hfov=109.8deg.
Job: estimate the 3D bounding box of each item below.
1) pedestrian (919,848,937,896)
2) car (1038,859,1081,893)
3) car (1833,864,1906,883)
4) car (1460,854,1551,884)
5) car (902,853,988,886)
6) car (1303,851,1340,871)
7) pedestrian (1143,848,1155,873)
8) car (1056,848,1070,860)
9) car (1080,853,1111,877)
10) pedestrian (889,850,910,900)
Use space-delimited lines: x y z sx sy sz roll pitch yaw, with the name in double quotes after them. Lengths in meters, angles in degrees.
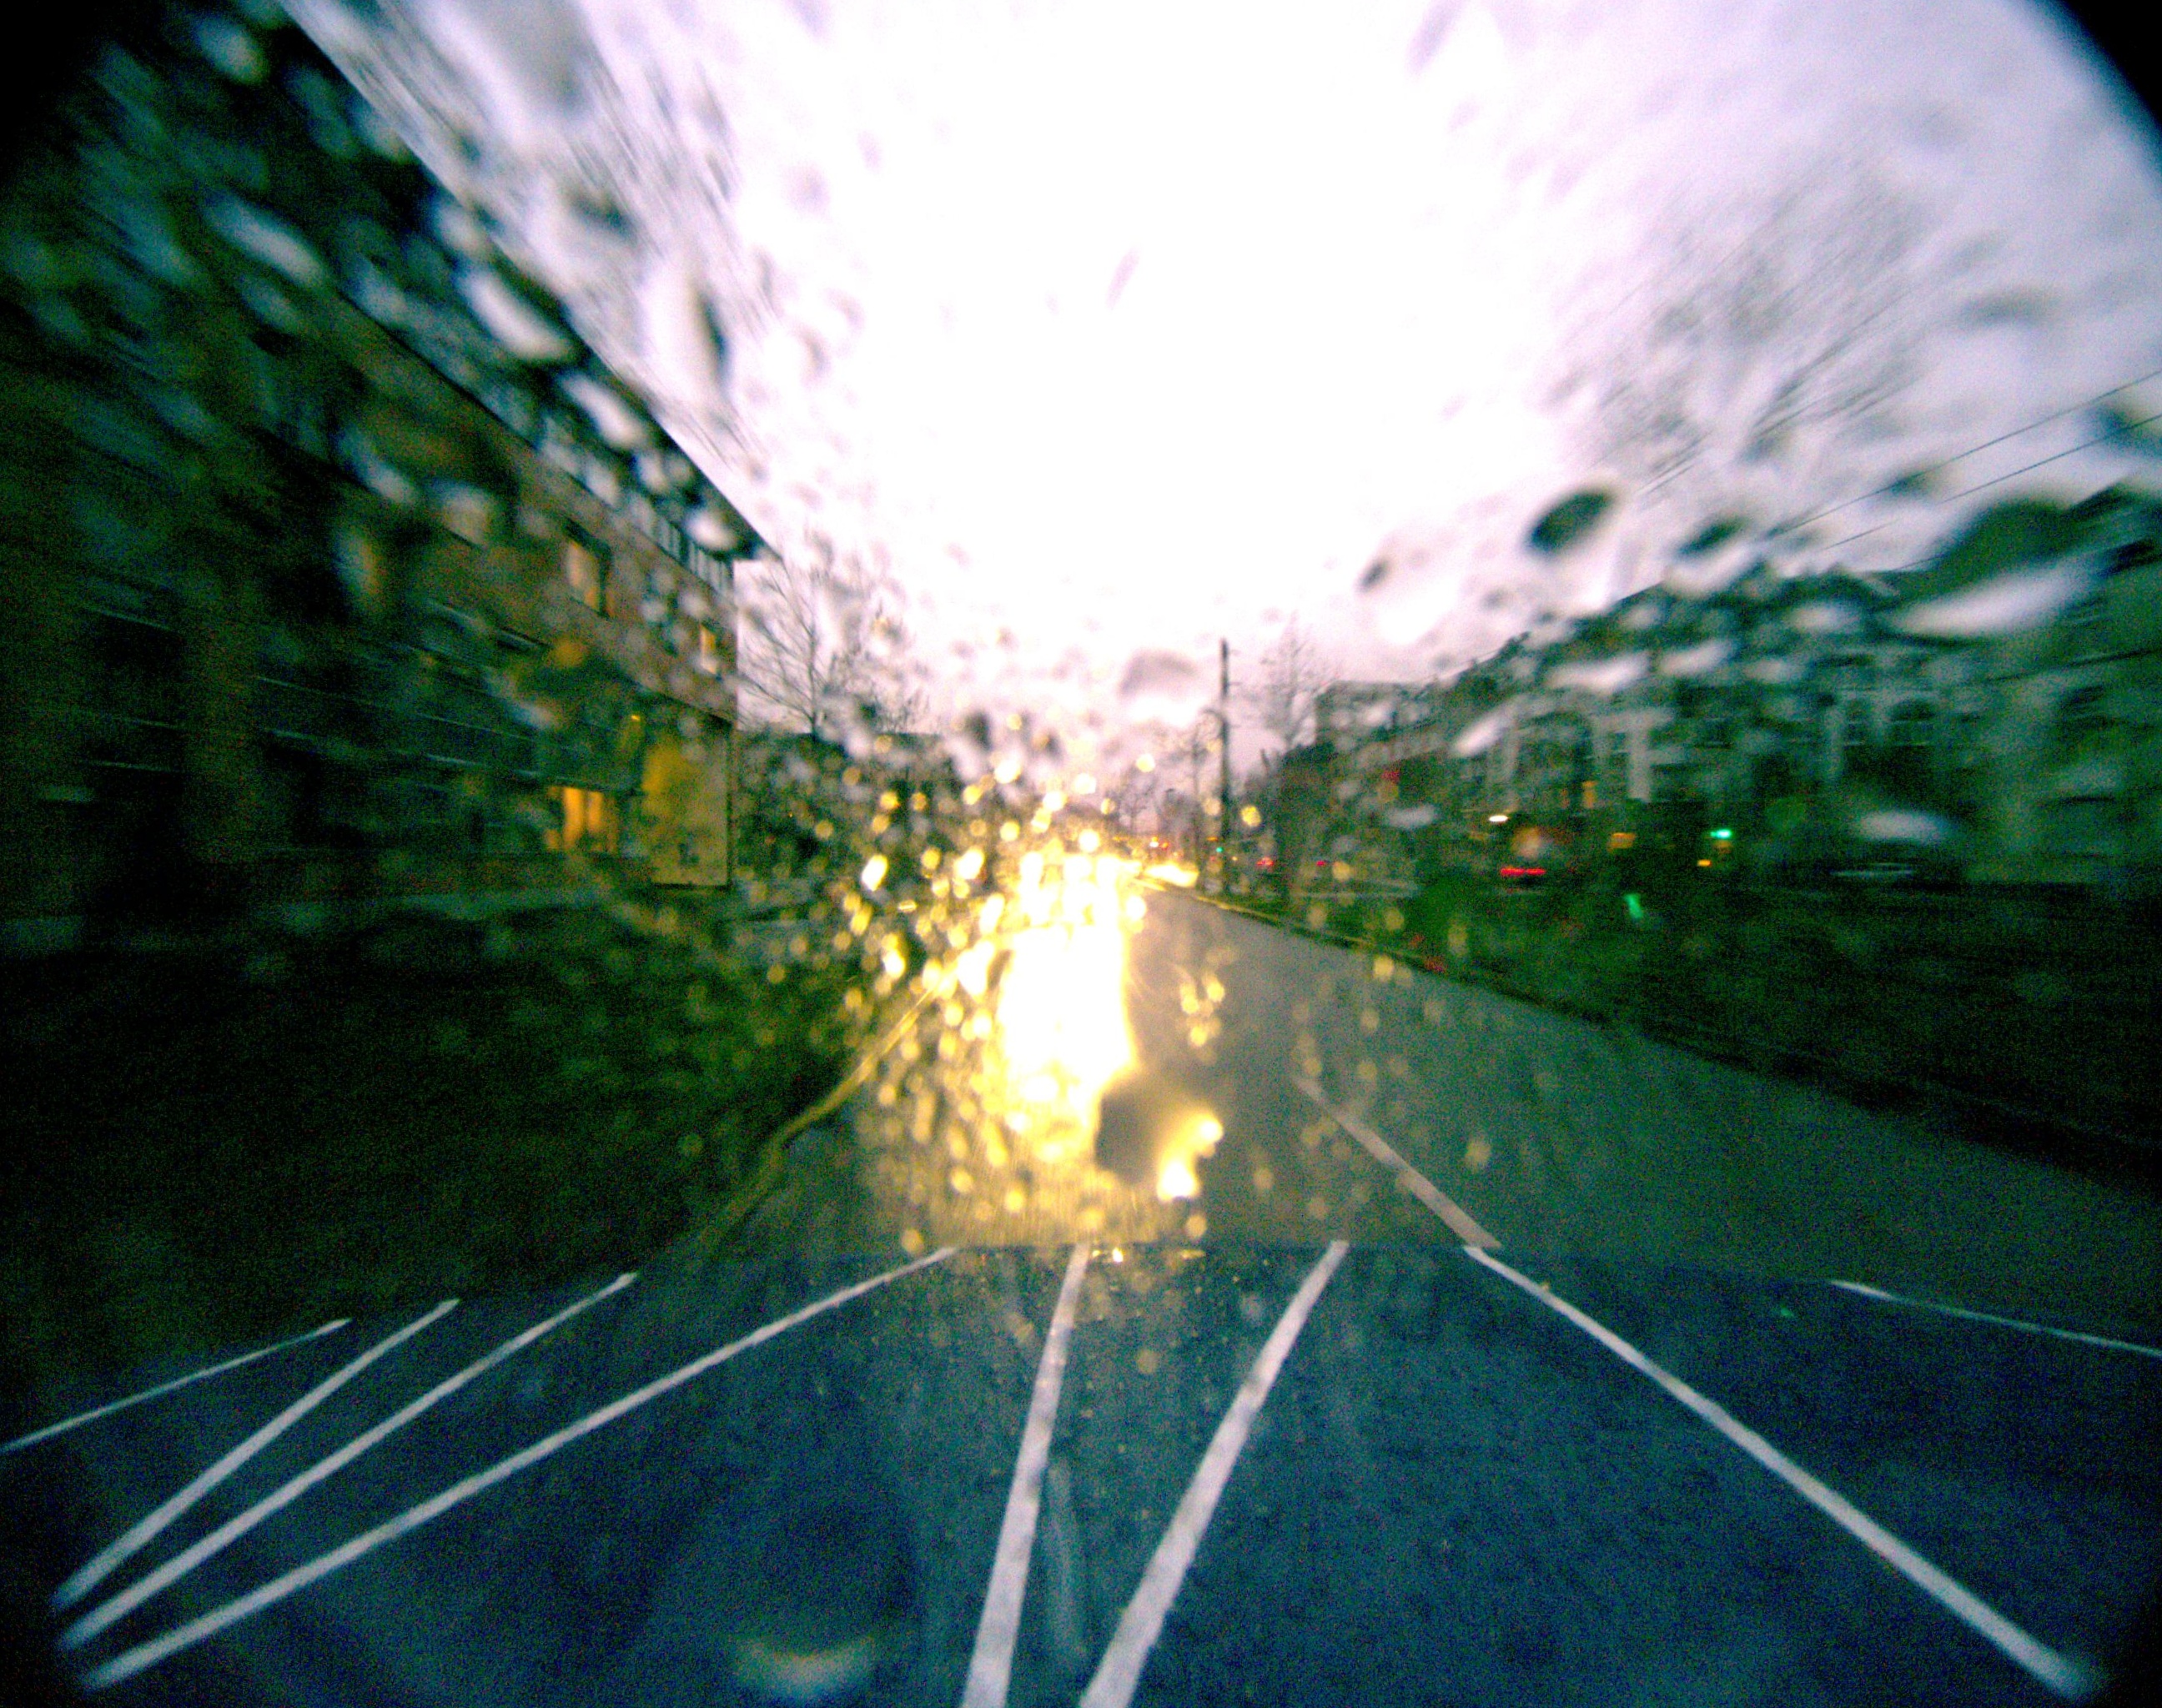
-5.846 0.677 28.949 0.506 1.814 0.656 0 1 -28 "pedestrian"
-0.989 0.982 35.105 1.814 1.384 4.052 -1 0 -2 "car"
45.748 1.117 44.123 2.898 1.069 1.331 0 0 -2 "car"
21.465 0.720 38.675 1.869 1.444 4.698 0 0 -2 "car"
-6.747 0.745 38.056 3.997 1.546 1.742 1 0 -1 "car"
21.645 0.635 68.463 1.869 1.628 3.999 -3 0 -2 "car"
5.526 0.522 61.741 0.877 2.002 0.931 1 1 9 "pedestrian"
-2.563 -0.016 108.026 1.999 1.693 3.999 0 0 -2 "car"
0.909 0.690 49.438 1.814 1.487 4.052 -1 0 -2 "car"
-6.365 0.726 26.628 0.506 1.732 0.656 0 1 -35 "pedestrian"
